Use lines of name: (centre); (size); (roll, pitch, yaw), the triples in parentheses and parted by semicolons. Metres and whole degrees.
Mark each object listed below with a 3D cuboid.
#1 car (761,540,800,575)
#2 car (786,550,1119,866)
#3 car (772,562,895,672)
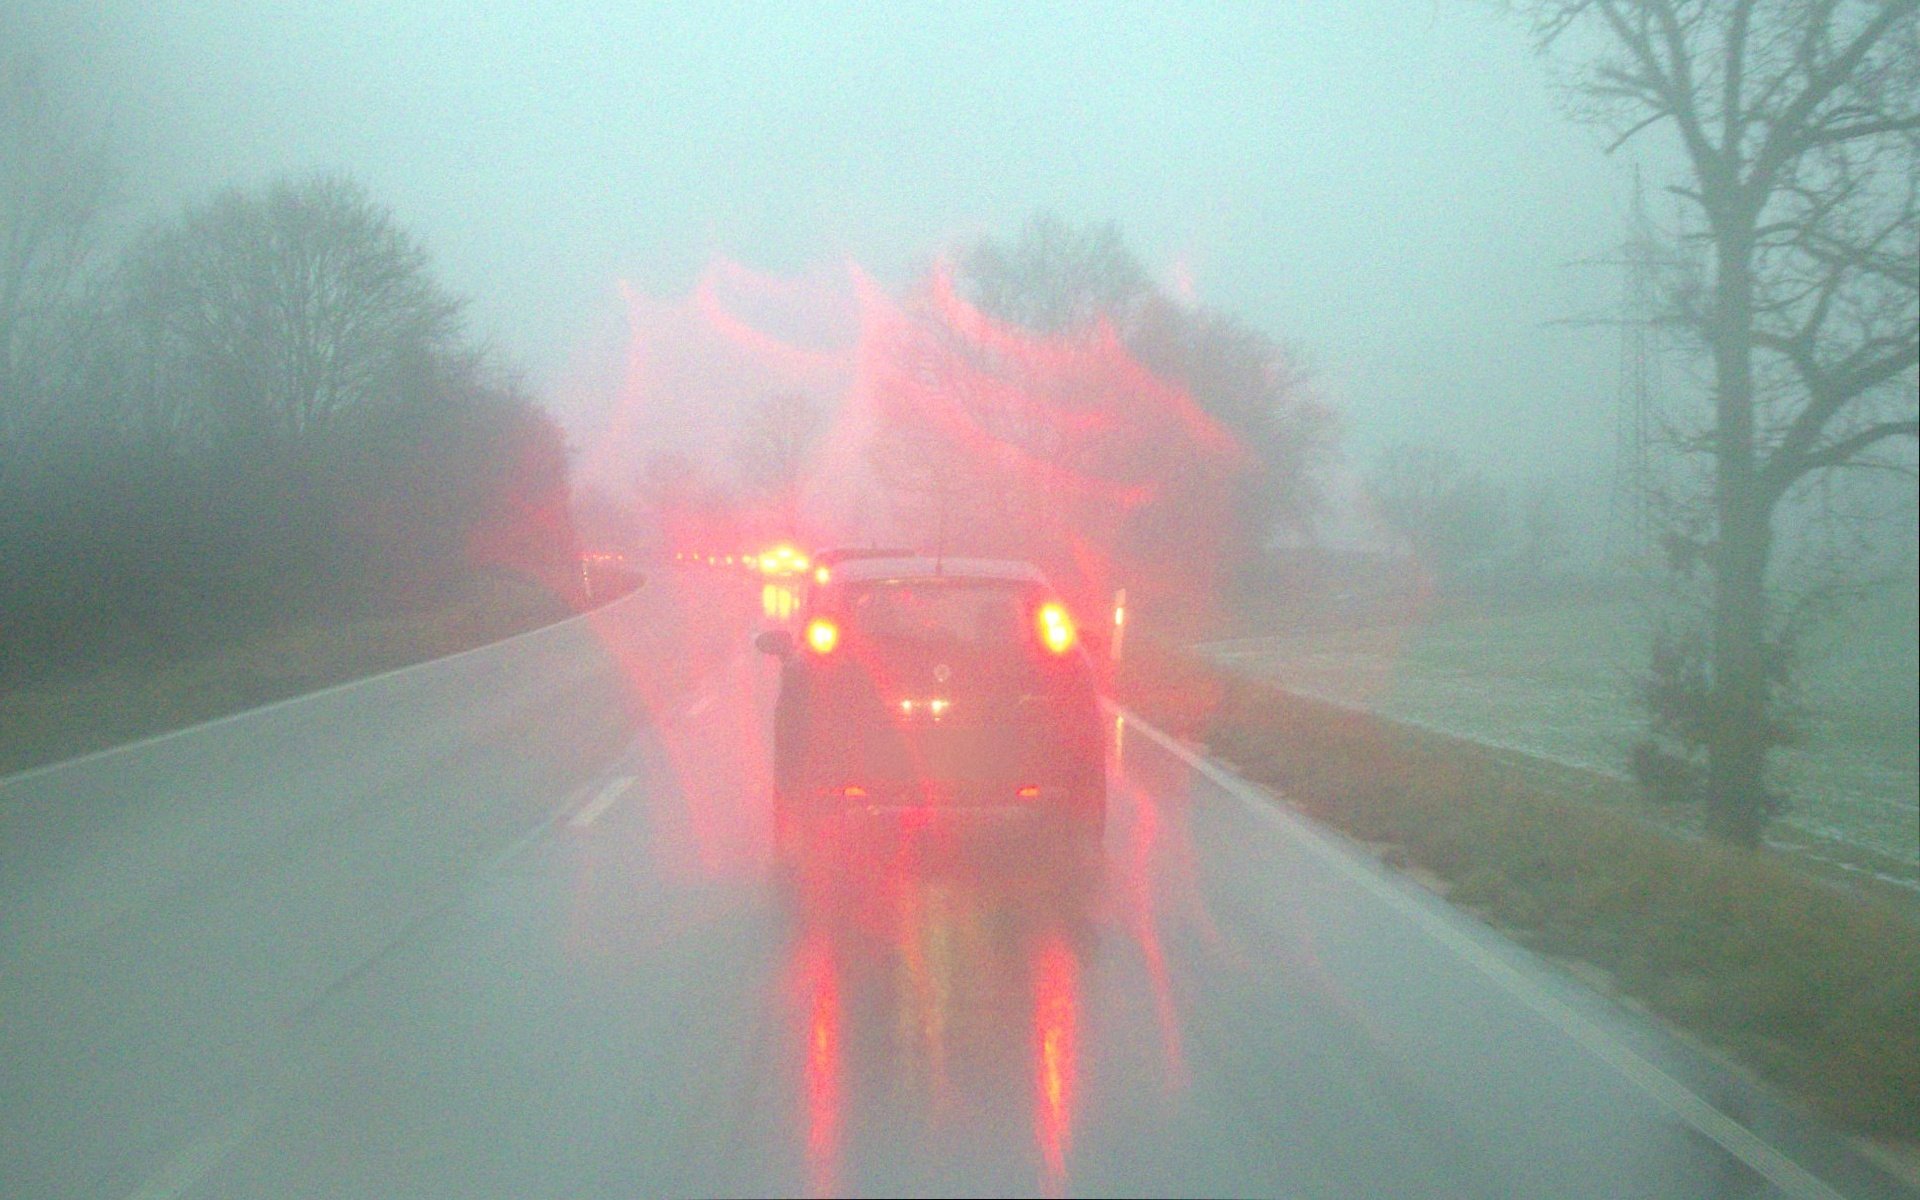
car: (-7.383, -1.746, 141.304); (1.547, 1.392, 3.870); (1, 1, -3)
car: (-0.060, 0.500, 18.651); (1.602, 1.517, 3.870); (1, 1, -1)
car: (-1.726, 0.199, 46.072); (1.546, 1.392, 3.870); (1, 1, -3)
